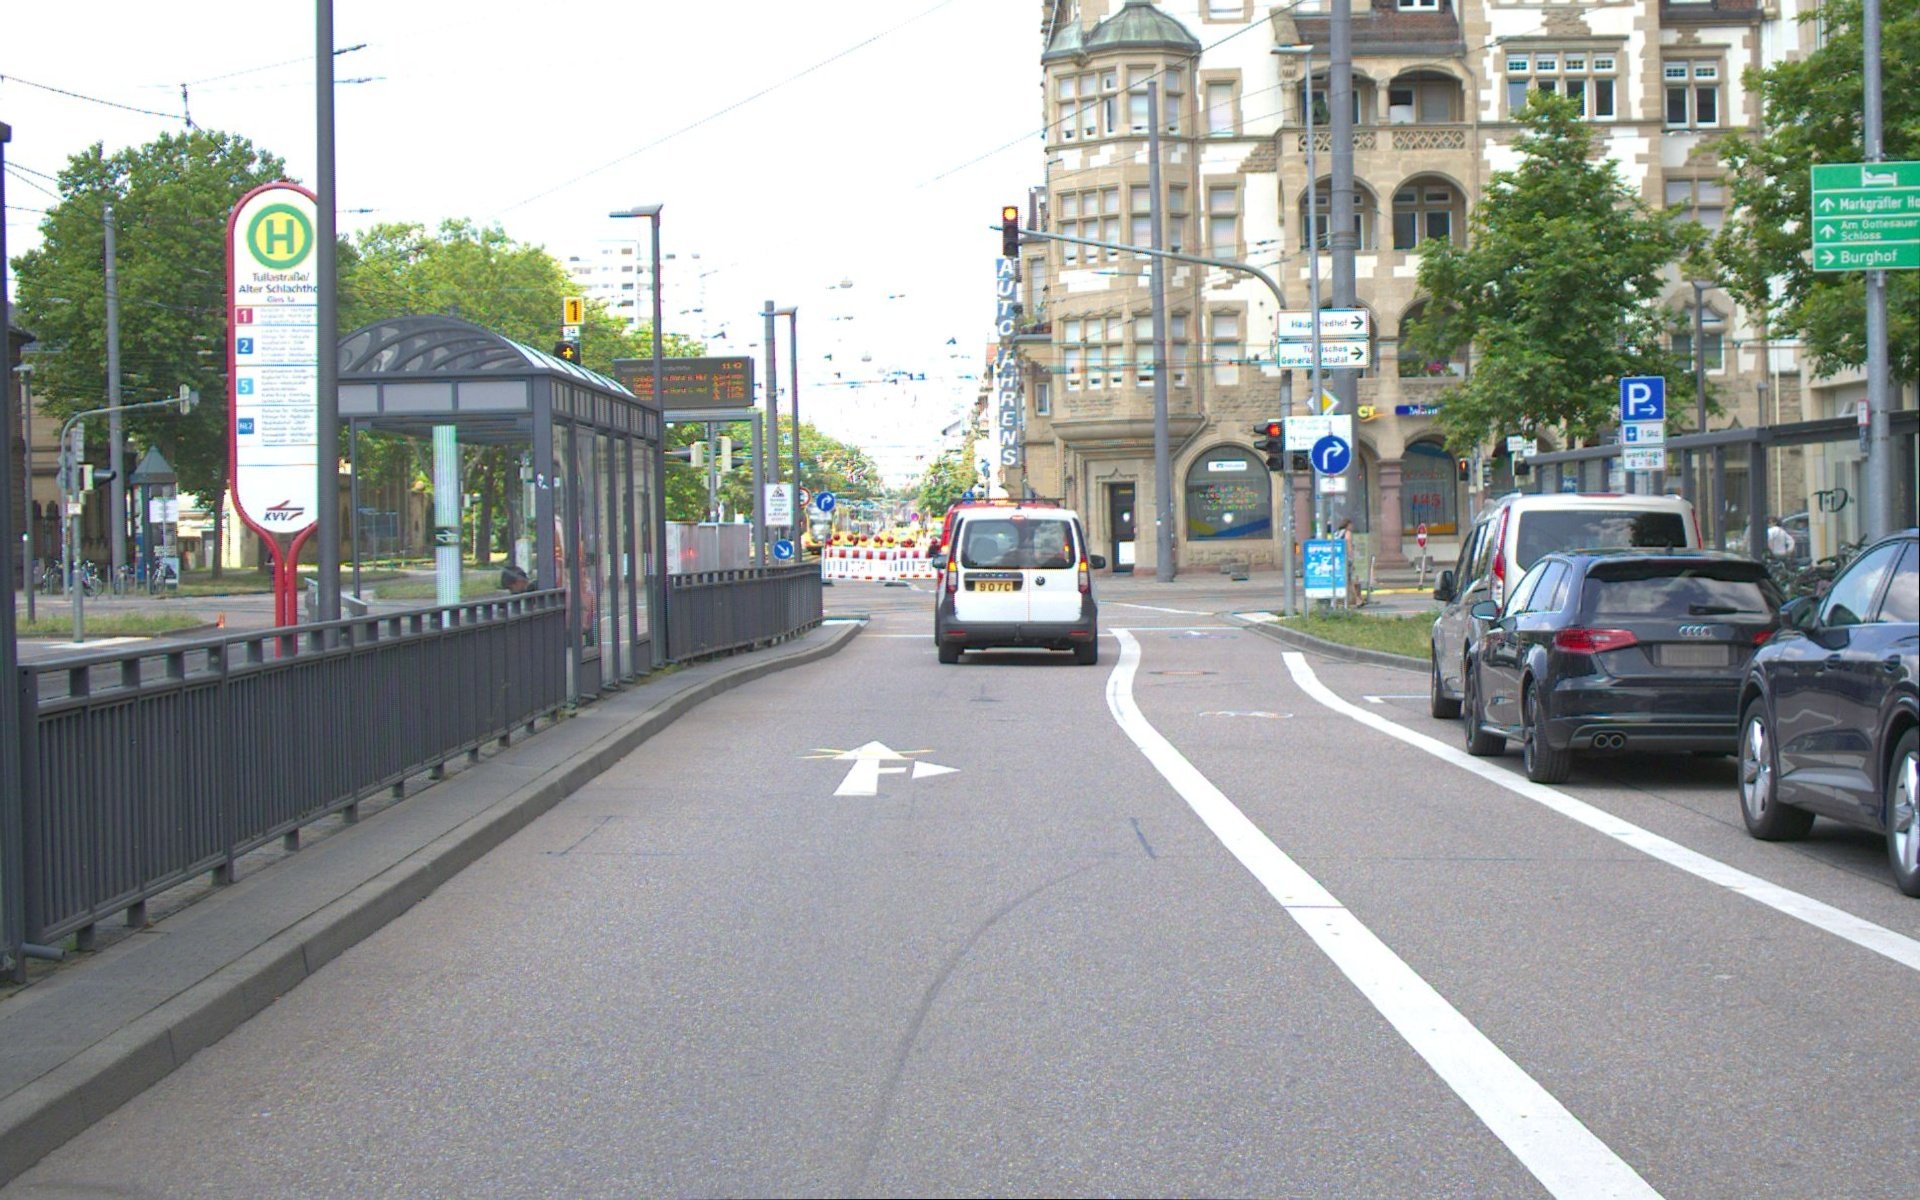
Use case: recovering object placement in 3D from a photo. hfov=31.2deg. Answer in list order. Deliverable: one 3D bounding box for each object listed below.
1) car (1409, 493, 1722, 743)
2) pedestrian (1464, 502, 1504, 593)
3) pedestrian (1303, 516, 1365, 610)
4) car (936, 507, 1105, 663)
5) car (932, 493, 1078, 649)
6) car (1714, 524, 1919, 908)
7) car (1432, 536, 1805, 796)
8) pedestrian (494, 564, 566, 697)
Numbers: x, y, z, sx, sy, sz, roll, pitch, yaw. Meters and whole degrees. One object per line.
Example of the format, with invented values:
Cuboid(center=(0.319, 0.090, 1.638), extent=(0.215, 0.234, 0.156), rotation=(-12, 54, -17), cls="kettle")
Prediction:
Cuboid(center=(4.636, 0.094, 26.754), extent=(1.709, 1.790, 3.362), rotation=(1, 1, -2), cls="car")
Cuboid(center=(9.227, -0.922, 60.531), extent=(0.534, 1.567, 0.542), rotation=(-3, 1, -2), cls="pedestrian")
Cuboid(center=(6.405, -0.637, 58.930), extent=(0.805, 1.567, 0.629), rotation=(-3, 1, -16), cls="pedestrian")
Cuboid(center=(0.668, -0.207, 40.551), extent=(1.868, 1.740, 4.000), rotation=(0, 1, -1), cls="car")
Cuboid(center=(0.570, -0.409, 46.590), extent=(1.868, 2.013, 4.000), rotation=(0, 1, -1), cls="car")
Cuboid(center=(4.864, 0.461, 15.699), extent=(1.807, 1.586, 4.306), rotation=(1, 1, -1), cls="car")
Cuboid(center=(4.096, 0.345, 21.946), extent=(1.443, 1.465, 4.093), rotation=(1, 1, -2), cls="car")
Cuboid(center=(-3.760, 0.263, 30.083), extent=(0.513, 1.136, 0.501), rotation=(-3, 1, 0), cls="pedestrian")
